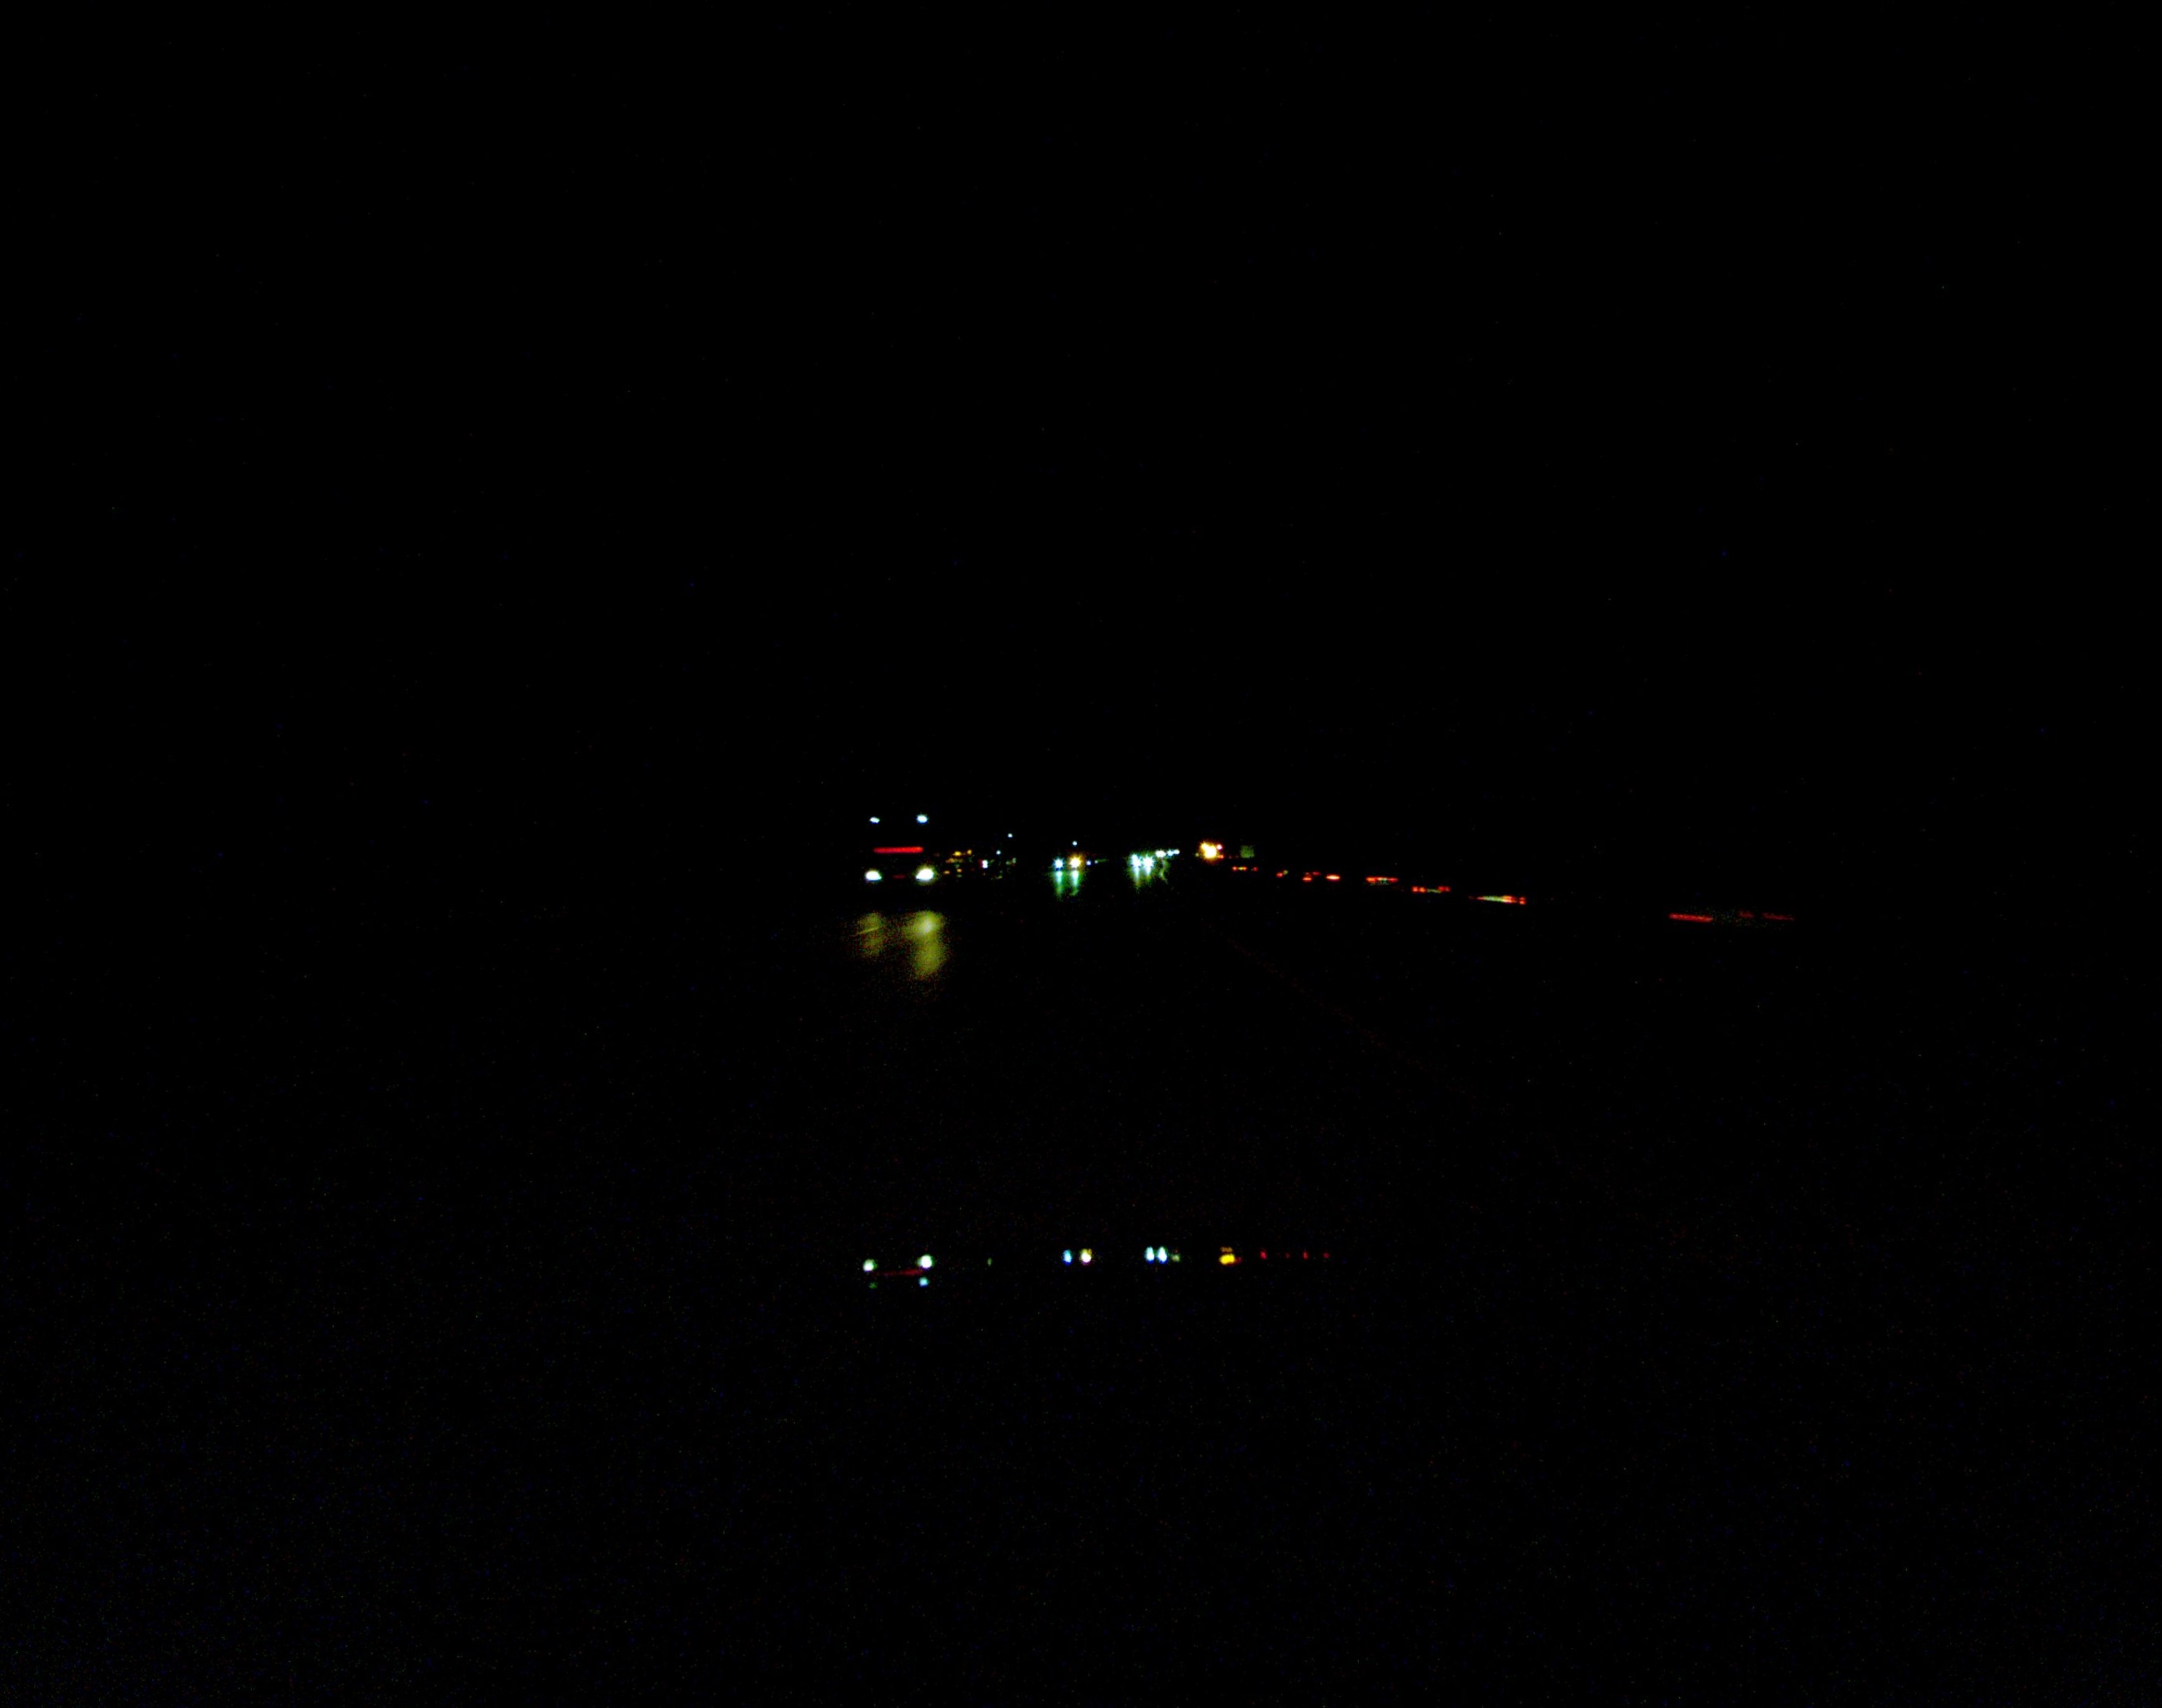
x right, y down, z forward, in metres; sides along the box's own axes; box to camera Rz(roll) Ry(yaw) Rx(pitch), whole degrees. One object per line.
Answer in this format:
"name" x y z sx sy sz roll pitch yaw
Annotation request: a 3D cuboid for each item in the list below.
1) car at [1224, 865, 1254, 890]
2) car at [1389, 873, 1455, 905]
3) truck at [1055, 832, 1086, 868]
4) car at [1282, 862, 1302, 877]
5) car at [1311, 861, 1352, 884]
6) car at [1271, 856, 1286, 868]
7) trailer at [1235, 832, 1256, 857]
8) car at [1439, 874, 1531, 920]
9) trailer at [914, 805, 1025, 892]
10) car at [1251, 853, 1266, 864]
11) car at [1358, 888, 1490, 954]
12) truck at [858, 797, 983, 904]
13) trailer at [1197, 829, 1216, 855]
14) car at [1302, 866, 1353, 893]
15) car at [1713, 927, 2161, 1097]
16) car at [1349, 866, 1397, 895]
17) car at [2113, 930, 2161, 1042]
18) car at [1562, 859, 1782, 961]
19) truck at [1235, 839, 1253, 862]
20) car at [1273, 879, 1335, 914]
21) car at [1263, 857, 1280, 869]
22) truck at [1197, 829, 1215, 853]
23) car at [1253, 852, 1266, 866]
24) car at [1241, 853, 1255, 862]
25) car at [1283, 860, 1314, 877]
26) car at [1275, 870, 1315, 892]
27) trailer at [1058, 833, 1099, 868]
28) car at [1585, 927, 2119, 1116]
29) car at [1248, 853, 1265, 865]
"car" 12.635 1.851 60.873 1.737 1.847 4.000 0 1 2
"car" 17.986 1.821 40.271 1.827 1.449 4.000 0 0 2
"truck" -1.201 -0.478 87.770 2.898 3.949 4.002 -2 0 7
"car" 22.968 1.681 82.936 1.700 1.390 4.004 8 1 12
"car" 20.540 1.486 62.436 2.079 1.625 4.922 -2 0 5
"car" 24.869 1.011 95.608 1.709 1.368 4.004 -1 0 14
"trailer" 31.484 -1.852 145.884 3.154 4.291 14.819 -3 1 10
"car" 16.967 1.758 32.158 1.955 1.706 4.001 -1 0 3
"trailer" -5.667 -0.288 41.791 2.880 3.908 12.891 -3 0 5
"car" 26.023 0.712 111.621 1.997 1.482 4.406 -2 0 11
"car" 9.421 1.785 21.259 1.821 1.460 4.279 -1 0 1
"truck" -6.470 -0.132 32.175 2.873 3.817 8.056 -3 0 4
"trailer" 19.320 -1.902 117.216 2.540 3.692 10.131 -3 1 8
"car" 14.982 1.518 46.354 1.827 1.449 4.000 0 0 0
"car" 13.141 2.214 11.977 2.144 1.613 5.112 0 0 1
"car" 19.252 1.707 50.245 1.756 1.706 4.001 -2 0 3
"car" 16.414 1.908 9.286 1.821 1.548 4.279 -1 0 1
"car" 16.538 1.417 21.788 2.032 2.427 5.696 -2 0 3
"truck" 32.755 -0.701 152.891 3.092 4.291 6.286 -3 1 10
"car" 10.754 2.010 36.942 1.821 1.460 4.279 -1 0 1
"car" 26.138 1.259 104.457 1.997 1.539 4.142 -2 0 10
"truck" 20.356 -2.126 123.902 2.608 3.722 6.759 -3 1 9
"car" 27.566 0.732 117.348 1.892 2.002 4.004 -2 0 13
"car" 29.264 0.594 133.201 1.997 1.482 4.405 -2 0 8
"car" 21.615 1.414 75.691 1.907 1.445 4.712 -2 0 3
"car" 15.894 1.985 56.718 1.907 1.445 4.712 -2 0 3
"trailer" -0.130 -0.449 95.840 2.838 3.951 15.772 -2 0 8
"car" 9.615 1.971 10.366 2.144 1.442 5.112 0 0 1
"car" 20.400 0.584 88.357 1.722 1.295 4.003 -1 0 11
